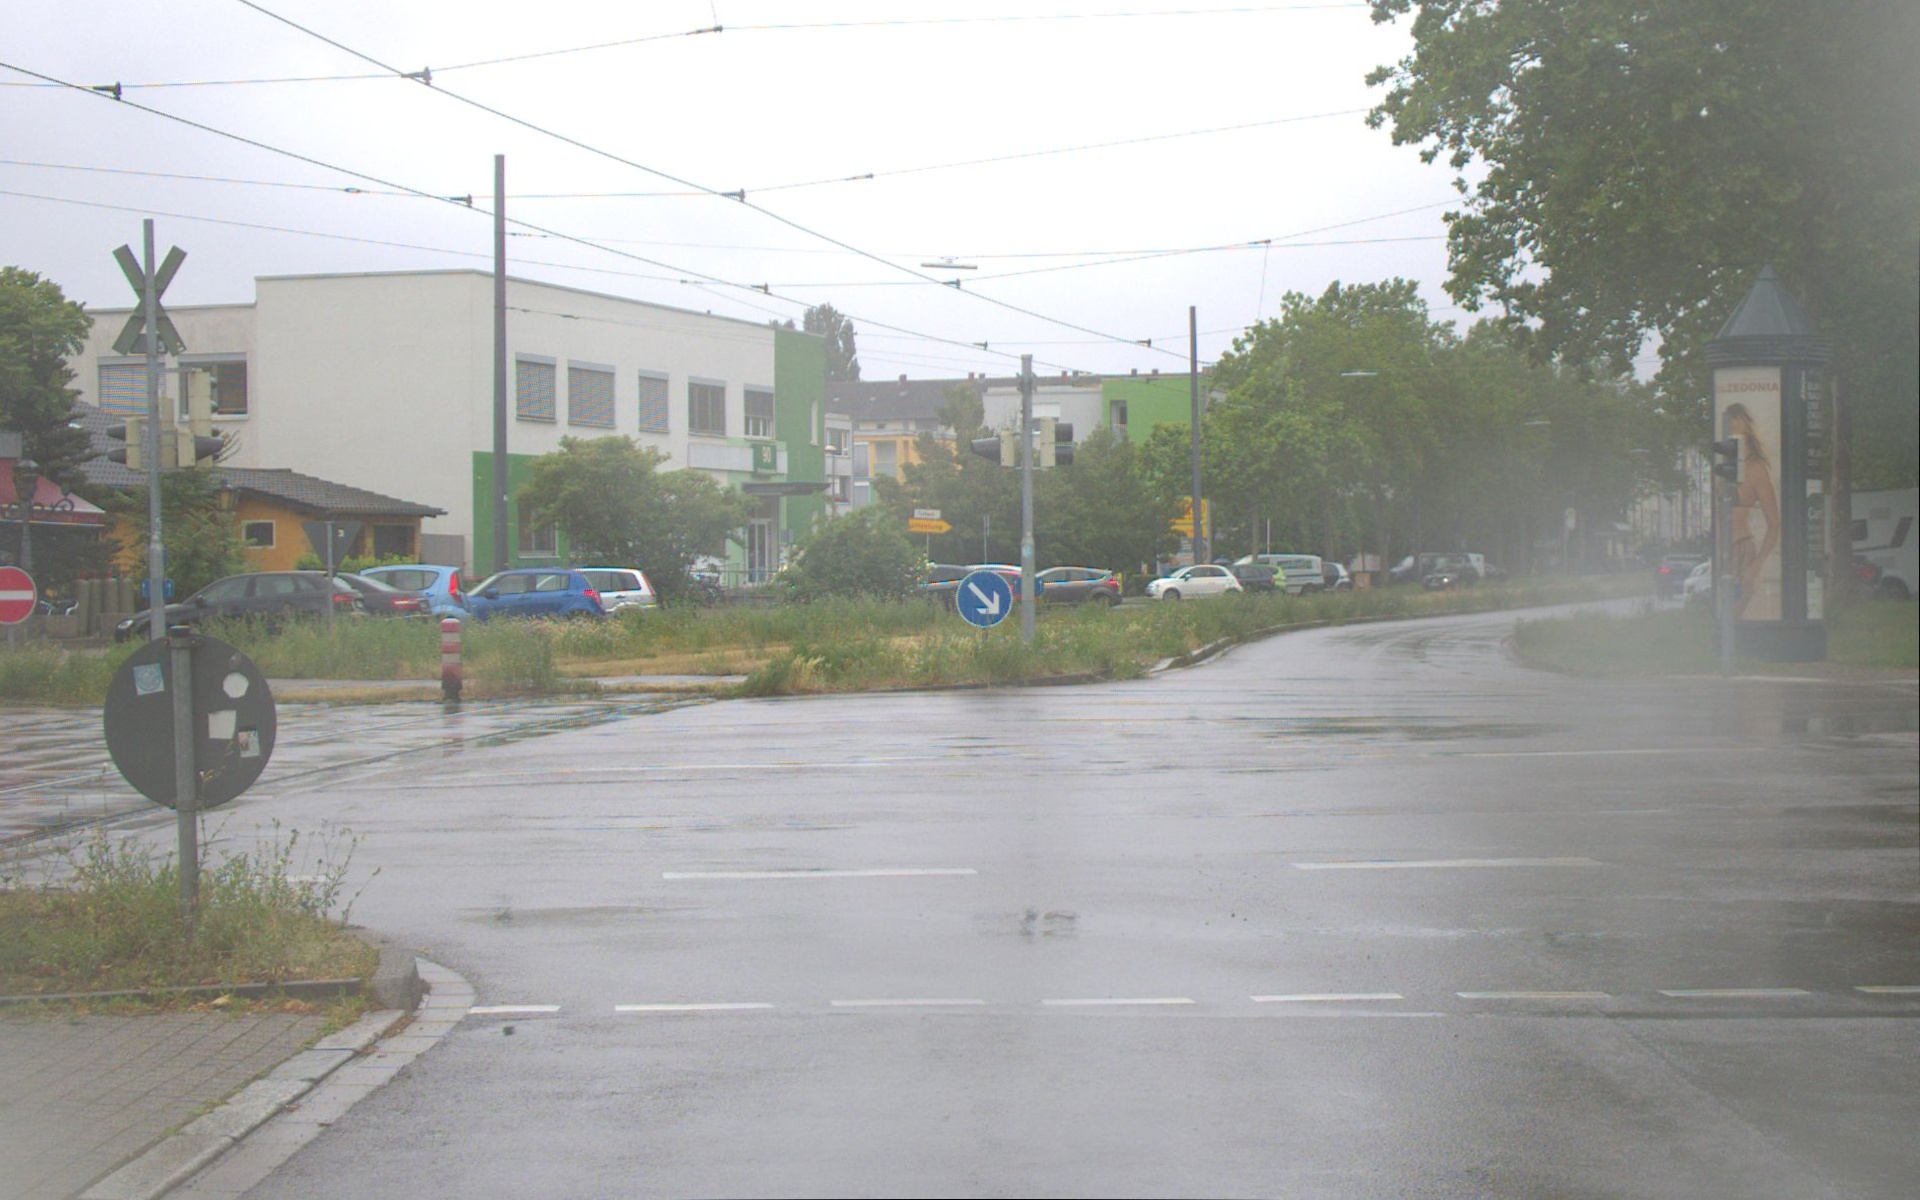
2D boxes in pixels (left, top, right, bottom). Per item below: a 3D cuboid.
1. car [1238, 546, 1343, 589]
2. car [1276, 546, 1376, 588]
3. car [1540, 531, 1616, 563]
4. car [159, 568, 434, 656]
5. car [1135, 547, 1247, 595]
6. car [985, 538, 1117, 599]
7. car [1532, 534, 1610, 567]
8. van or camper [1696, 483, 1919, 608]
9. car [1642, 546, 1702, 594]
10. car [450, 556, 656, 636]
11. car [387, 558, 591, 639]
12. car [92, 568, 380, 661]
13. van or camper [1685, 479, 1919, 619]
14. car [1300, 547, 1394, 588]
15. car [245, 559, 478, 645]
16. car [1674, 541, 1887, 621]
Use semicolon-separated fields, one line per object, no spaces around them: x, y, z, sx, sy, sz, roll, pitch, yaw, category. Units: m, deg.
13.929;-1.382;144.879;3.986;1.752;2.011;1;0;-11;car
16.365;-1.474;153.842;3.986;1.826;2.001;1;0;-11;car
36.548;-3.125;203.415;3.986;1.826;2.000;1;0;-5;car
-11.810;0.200;61.389;4.497;1.413;1.858;-2;0;1;car
8.503;-1.077;126.763;3.773;1.697;1.837;1;0;-10;car
2.903;-1.011;110.163;3.986;1.881;2.000;1;0;-7;car
35.301;-2.862;198.683;3.986;1.826;2.000;1;0;-5;car
23.244;-1.415;89.685;7.434;3.167;3.259;1;1;22;van or camper
25.648;-1.080;123.770;1.807;1.680;3.908;1;1;16;car
-8.644;-0.089;72.905;4.107;1.635;1.930;-1;0;-14;car
-9.573;-0.041;69.730;3.986;1.576;1.930;0;0;-11;car
-12.385;0.232;58.981;4.477;1.413;1.858;-2;0;1;car
20.895;-1.175;80.509;7.328;3.167;3.259;1;1;18;van or camper
17.885;-1.503;158.913;3.986;1.826;2.000;1;0;-5;car
-11.250;0.031;64.777;3.987;1.576;1.858;0;0;4;car
18.516;-0.440;77.573;4.449;1.711;1.998;1;1;21;car
